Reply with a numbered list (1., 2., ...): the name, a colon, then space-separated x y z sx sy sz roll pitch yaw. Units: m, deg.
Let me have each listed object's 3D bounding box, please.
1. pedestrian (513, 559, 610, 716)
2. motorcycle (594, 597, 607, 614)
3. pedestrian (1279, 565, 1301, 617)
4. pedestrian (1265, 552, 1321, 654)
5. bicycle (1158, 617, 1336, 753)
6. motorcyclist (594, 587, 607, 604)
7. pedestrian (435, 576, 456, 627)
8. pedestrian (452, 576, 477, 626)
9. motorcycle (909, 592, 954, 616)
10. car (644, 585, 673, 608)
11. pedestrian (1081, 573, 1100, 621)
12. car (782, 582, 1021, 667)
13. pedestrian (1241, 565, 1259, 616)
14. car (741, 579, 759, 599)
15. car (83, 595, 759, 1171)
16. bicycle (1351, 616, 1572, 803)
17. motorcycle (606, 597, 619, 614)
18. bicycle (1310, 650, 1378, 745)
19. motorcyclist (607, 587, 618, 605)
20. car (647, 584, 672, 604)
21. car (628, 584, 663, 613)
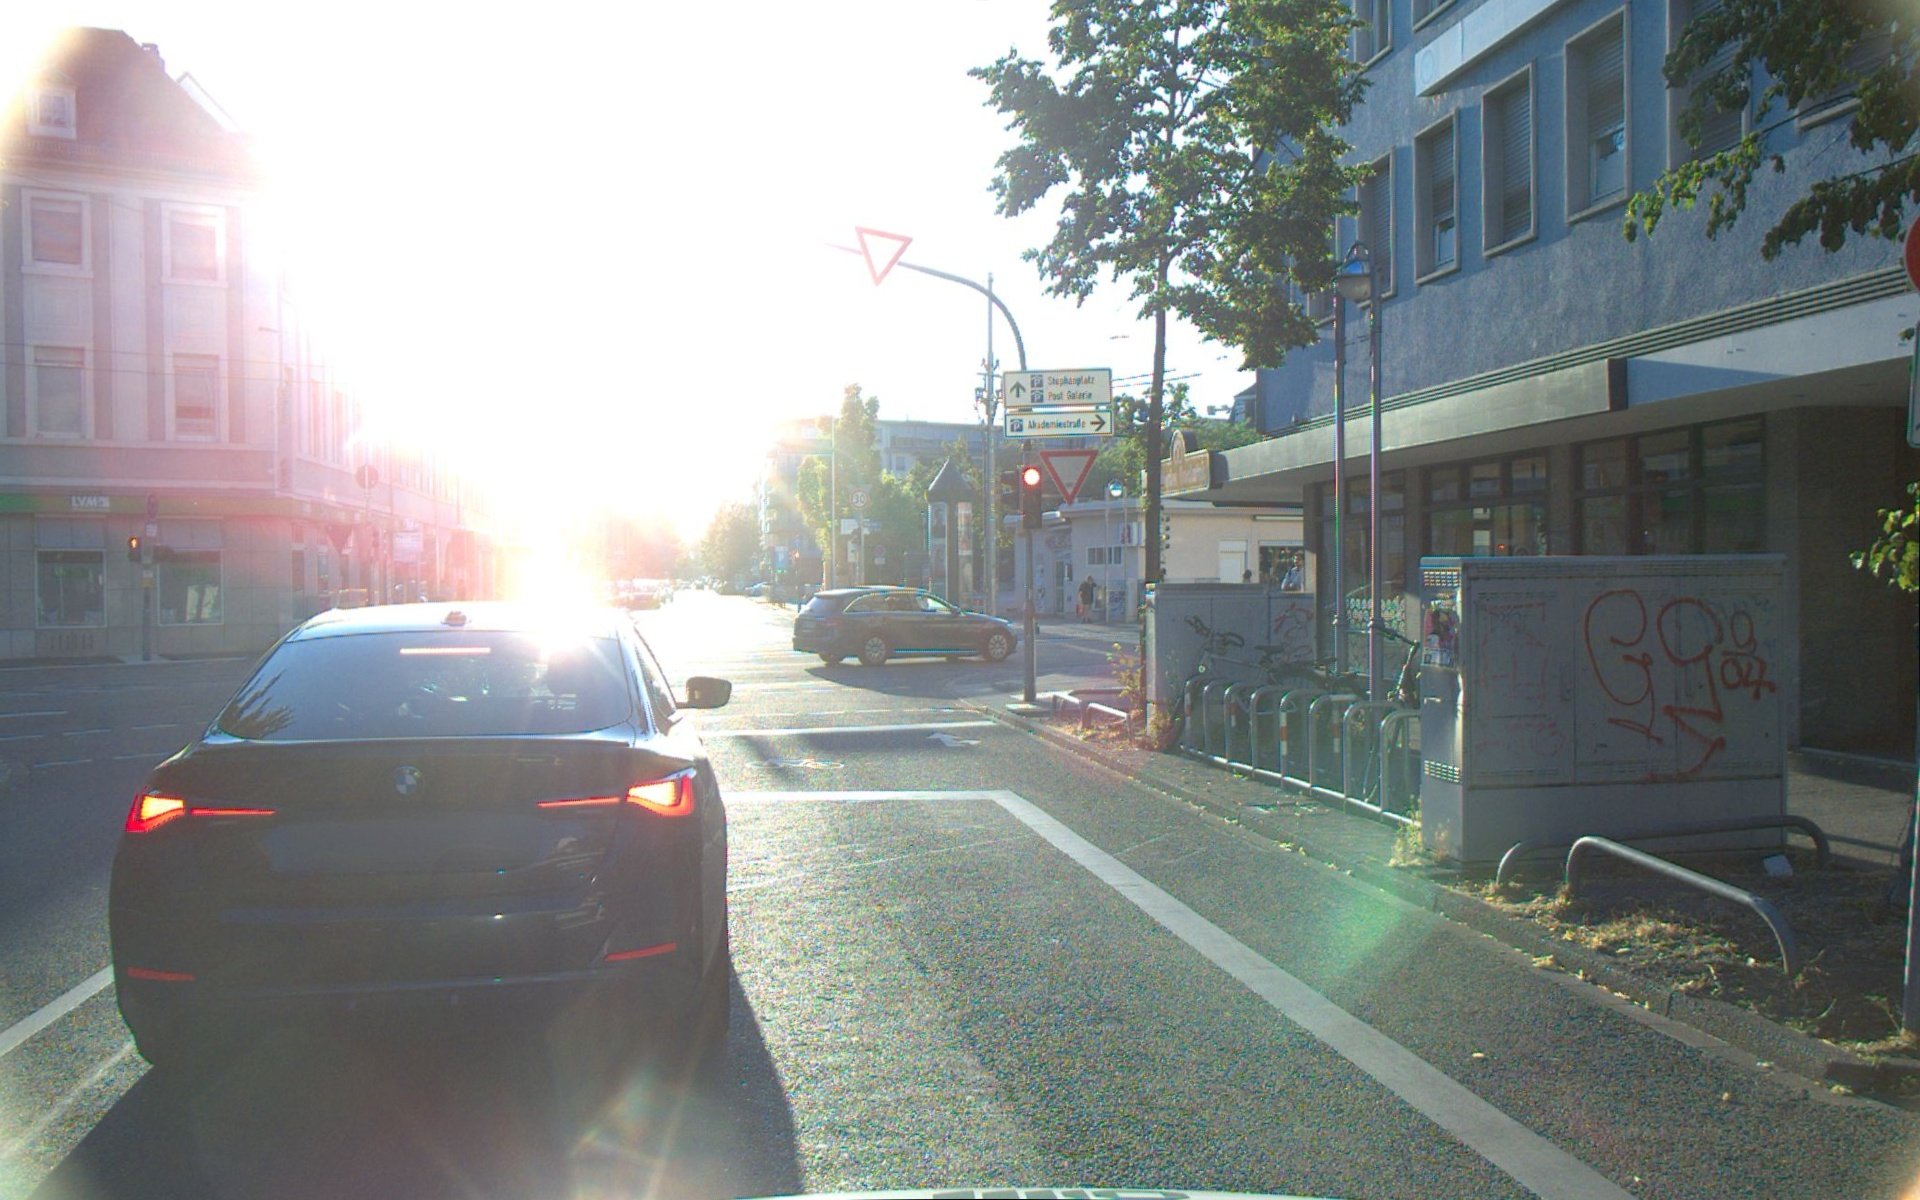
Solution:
1. pedestrian: -4.971 0.450 20.632 0.990 1.893 0.634 -2 1 -29
2. motorcycle: -20.402 0.284 93.819 0.564 0.931 2.196 1 0 -8
3. pedestrian: 11.258 -0.302 56.440 0.474 1.765 0.525 1 0 -34
4. pedestrian: 6.202 0.057 30.766 0.820 1.874 0.677 -1 1 31
5. bicycle: 2.632 0.769 15.174 1.582 1.191 0.318 -1 0 -7
6. motorcyclist: -20.396 -0.257 93.840 0.564 0.931 2.196 1 0 -8
7. pedestrian: -19.418 0.040 62.430 0.631 1.909 0.630 1 0 -9
8. pedestrian: -18.902 0.046 63.082 0.666 1.909 0.614 1 0 42
9. motorcycle: -1.173 0.161 67.847 1.644 0.955 0.851 -1 1 -20
10. car: -20.506 -0.249 112.586 1.784 1.545 3.992 -1 1 -9
11. pedestrian: 4.274 -0.100 54.216 0.462 1.555 0.734 1 0 -8
12. car: -1.096 0.430 31.972 4.368 1.499 1.796 -1 1 -34
13. pedestrian: 10.006 -0.326 57.089 0.438 1.765 0.429 1 0 -34
14. car: -21.007 -1.091 165.284 1.738 1.881 3.994 -1 1 -7
15. car: -1.743 0.716 6.445 1.705 1.453 4.214 0 0 -10
16. bicycle: 3.436 0.746 11.351 1.413 1.241 0.383 1 0 -8
17. motorcycle: -19.612 0.299 93.437 0.564 0.931 2.196 1 0 -8
18. bicycle: 3.563 0.893 15.407 0.244 0.810 1.114 1 0 -7
19. motorcyclist: -19.596 -0.241 93.336 0.564 1.013 0.701 1 0 -9
20. car: -23.610 -0.464 129.945 1.784 1.545 3.992 -1 1 -9
21. car: -17.922 -0.111 94.379 1.784 1.545 3.992 -1 1 -9
